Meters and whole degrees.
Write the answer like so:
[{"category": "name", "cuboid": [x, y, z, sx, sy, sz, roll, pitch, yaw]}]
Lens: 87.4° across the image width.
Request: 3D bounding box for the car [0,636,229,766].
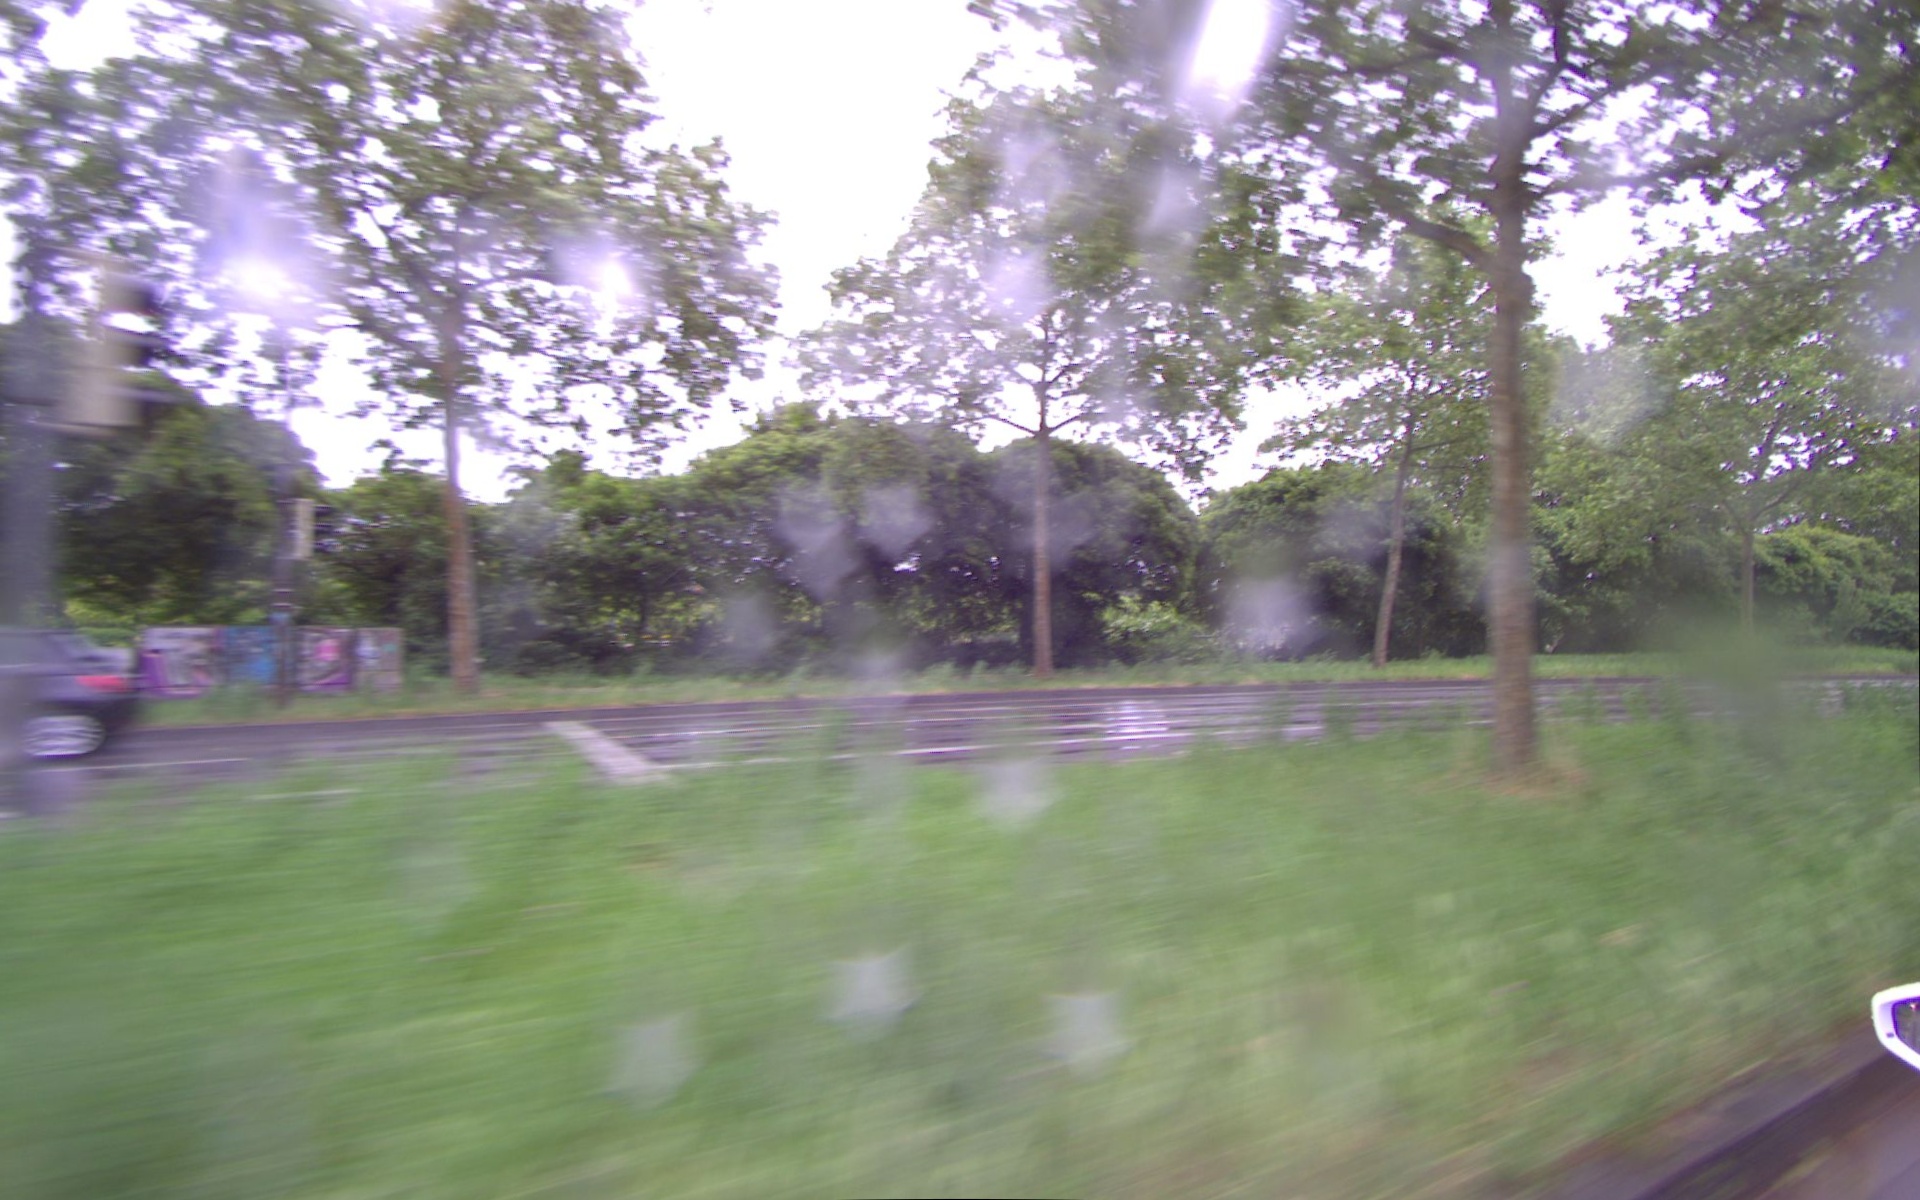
[{"category": "car", "cuboid": [-10.930, 1.102, 11.266, 4.210, 1.391, 1.581, 1, -2, -29]}]
